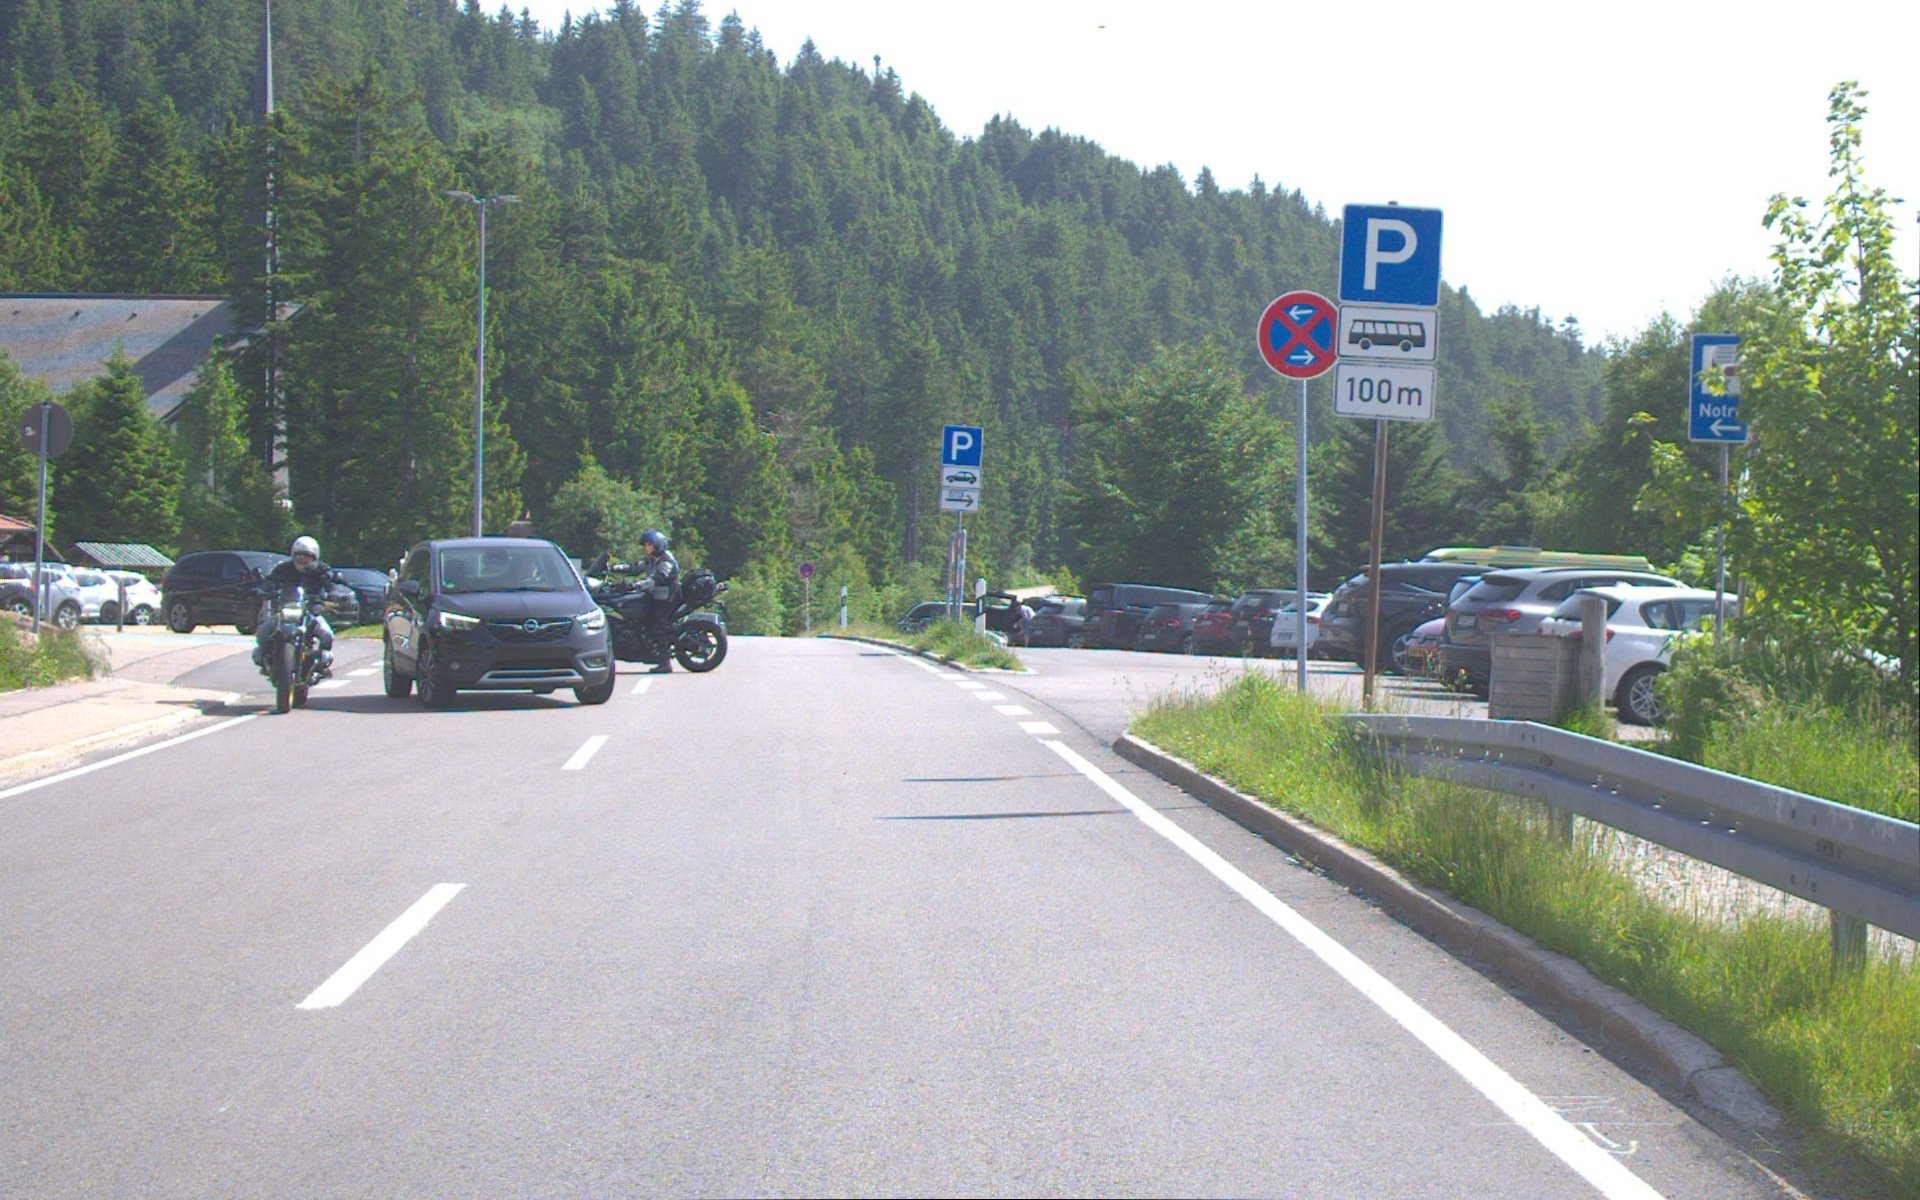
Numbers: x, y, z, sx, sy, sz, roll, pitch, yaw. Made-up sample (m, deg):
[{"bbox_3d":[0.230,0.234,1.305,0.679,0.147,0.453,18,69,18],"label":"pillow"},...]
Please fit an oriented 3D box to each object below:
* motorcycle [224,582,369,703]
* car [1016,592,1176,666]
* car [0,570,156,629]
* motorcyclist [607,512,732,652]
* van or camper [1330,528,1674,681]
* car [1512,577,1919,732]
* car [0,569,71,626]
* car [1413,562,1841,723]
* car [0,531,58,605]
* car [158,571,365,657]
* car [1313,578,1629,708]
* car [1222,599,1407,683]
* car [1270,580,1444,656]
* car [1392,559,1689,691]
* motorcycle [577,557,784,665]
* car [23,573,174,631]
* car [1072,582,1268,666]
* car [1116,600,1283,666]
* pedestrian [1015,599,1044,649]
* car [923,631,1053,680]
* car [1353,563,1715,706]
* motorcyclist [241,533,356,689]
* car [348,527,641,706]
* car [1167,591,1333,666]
[{"bbox_3d":[-6.275,0.391,32.416,0.839,1.092,2.183,-1,0,-24],"label":"motorcycle"},{"bbox_3d":[3.900,0.828,98.693,3.986,1.656,2.000,8,-3,-30],"label":"car"},{"bbox_3d":[-24.446,-0.019,94.822,1.998,1.568,3.990,1,0,41],"label":"car"},{"bbox_3d":[-3.449,-0.215,40.709,1.295,1.636,0.882,0,0,-18],"label":"motorcyclist"},{"bbox_3d":[8.630,0.062,55.041,5.090,2.007,1.882,4,0,1],"label":"van or camper"},{"bbox_3d":[8.148,0.582,36.904,3.985,1.381,1.657,4,0,-13],"label":"car"},{"bbox_3d":[-23.599,-0.070,82.488,3.989,1.366,1.811,0,1,-43],"label":"car"},{"bbox_3d":[7.714,0.484,39.871,4.395,1.563,1.908,4,0,-14],"label":"car"},{"bbox_3d":[-23.069,-0.762,79.246,3.989,1.698,1.825,0,1,-44],"label":"car"},{"bbox_3d":[-13.291,0.251,65.290,4.190,1.535,1.803,1,1,44],"label":"car"},{"bbox_3d":[7.256,0.606,48.987,3.986,1.608,1.917,3,0,-9],"label":"car"},{"bbox_3d":[8.620,0.991,83.391,4.261,1.689,1.990,5,-1,-41],"label":"car"},{"bbox_3d":[9.391,0.437,81.104,3.988,1.471,1.767,5,-1,-41],"label":"car"},{"bbox_3d":[7.800,0.319,46.394,3.580,1.490,1.648,4,1,-3],"label":"car"},{"bbox_3d":[-3.313,0.123,40.725,2.319,1.261,0.814,0,1,-18],"label":"motorcycle"},{"bbox_3d":[-25.244,0.071,100.856,1.775,1.666,4.021,-1,-1,40],"label":"car"},{"bbox_3d":[5.641,0.644,92.396,4.756,1.873,1.967,5,-1,-23],"label":"car"},{"bbox_3d":[6.263,0.867,89.836,3.986,1.410,1.745,5,-1,-31],"label":"car"},{"bbox_3d":[1.959,0.680,96.973,0.773,1.398,0.669,1,0,2],"label":"pedestrian"},{"bbox_3d":[1.046,2.067,127.802,4.452,1.294,1.582,7,-2,-20],"label":"car"},{"bbox_3d":[7.184,0.423,43.172,3.985,1.504,1.843,3,1,-13],"label":"car"},{"bbox_3d":[-6.237,0.102,32.377,0.839,1.436,1.005,-1,0,-24],"label":"motorcyclist"},{"bbox_3d":[-4.589,0.120,33.405,1.979,1.611,4.151,-1,1,-20],"label":"car"},{"bbox_3d":[7.365,0.733,87.110,3.988,1.584,1.863,5,-1,-41],"label":"car"}]
